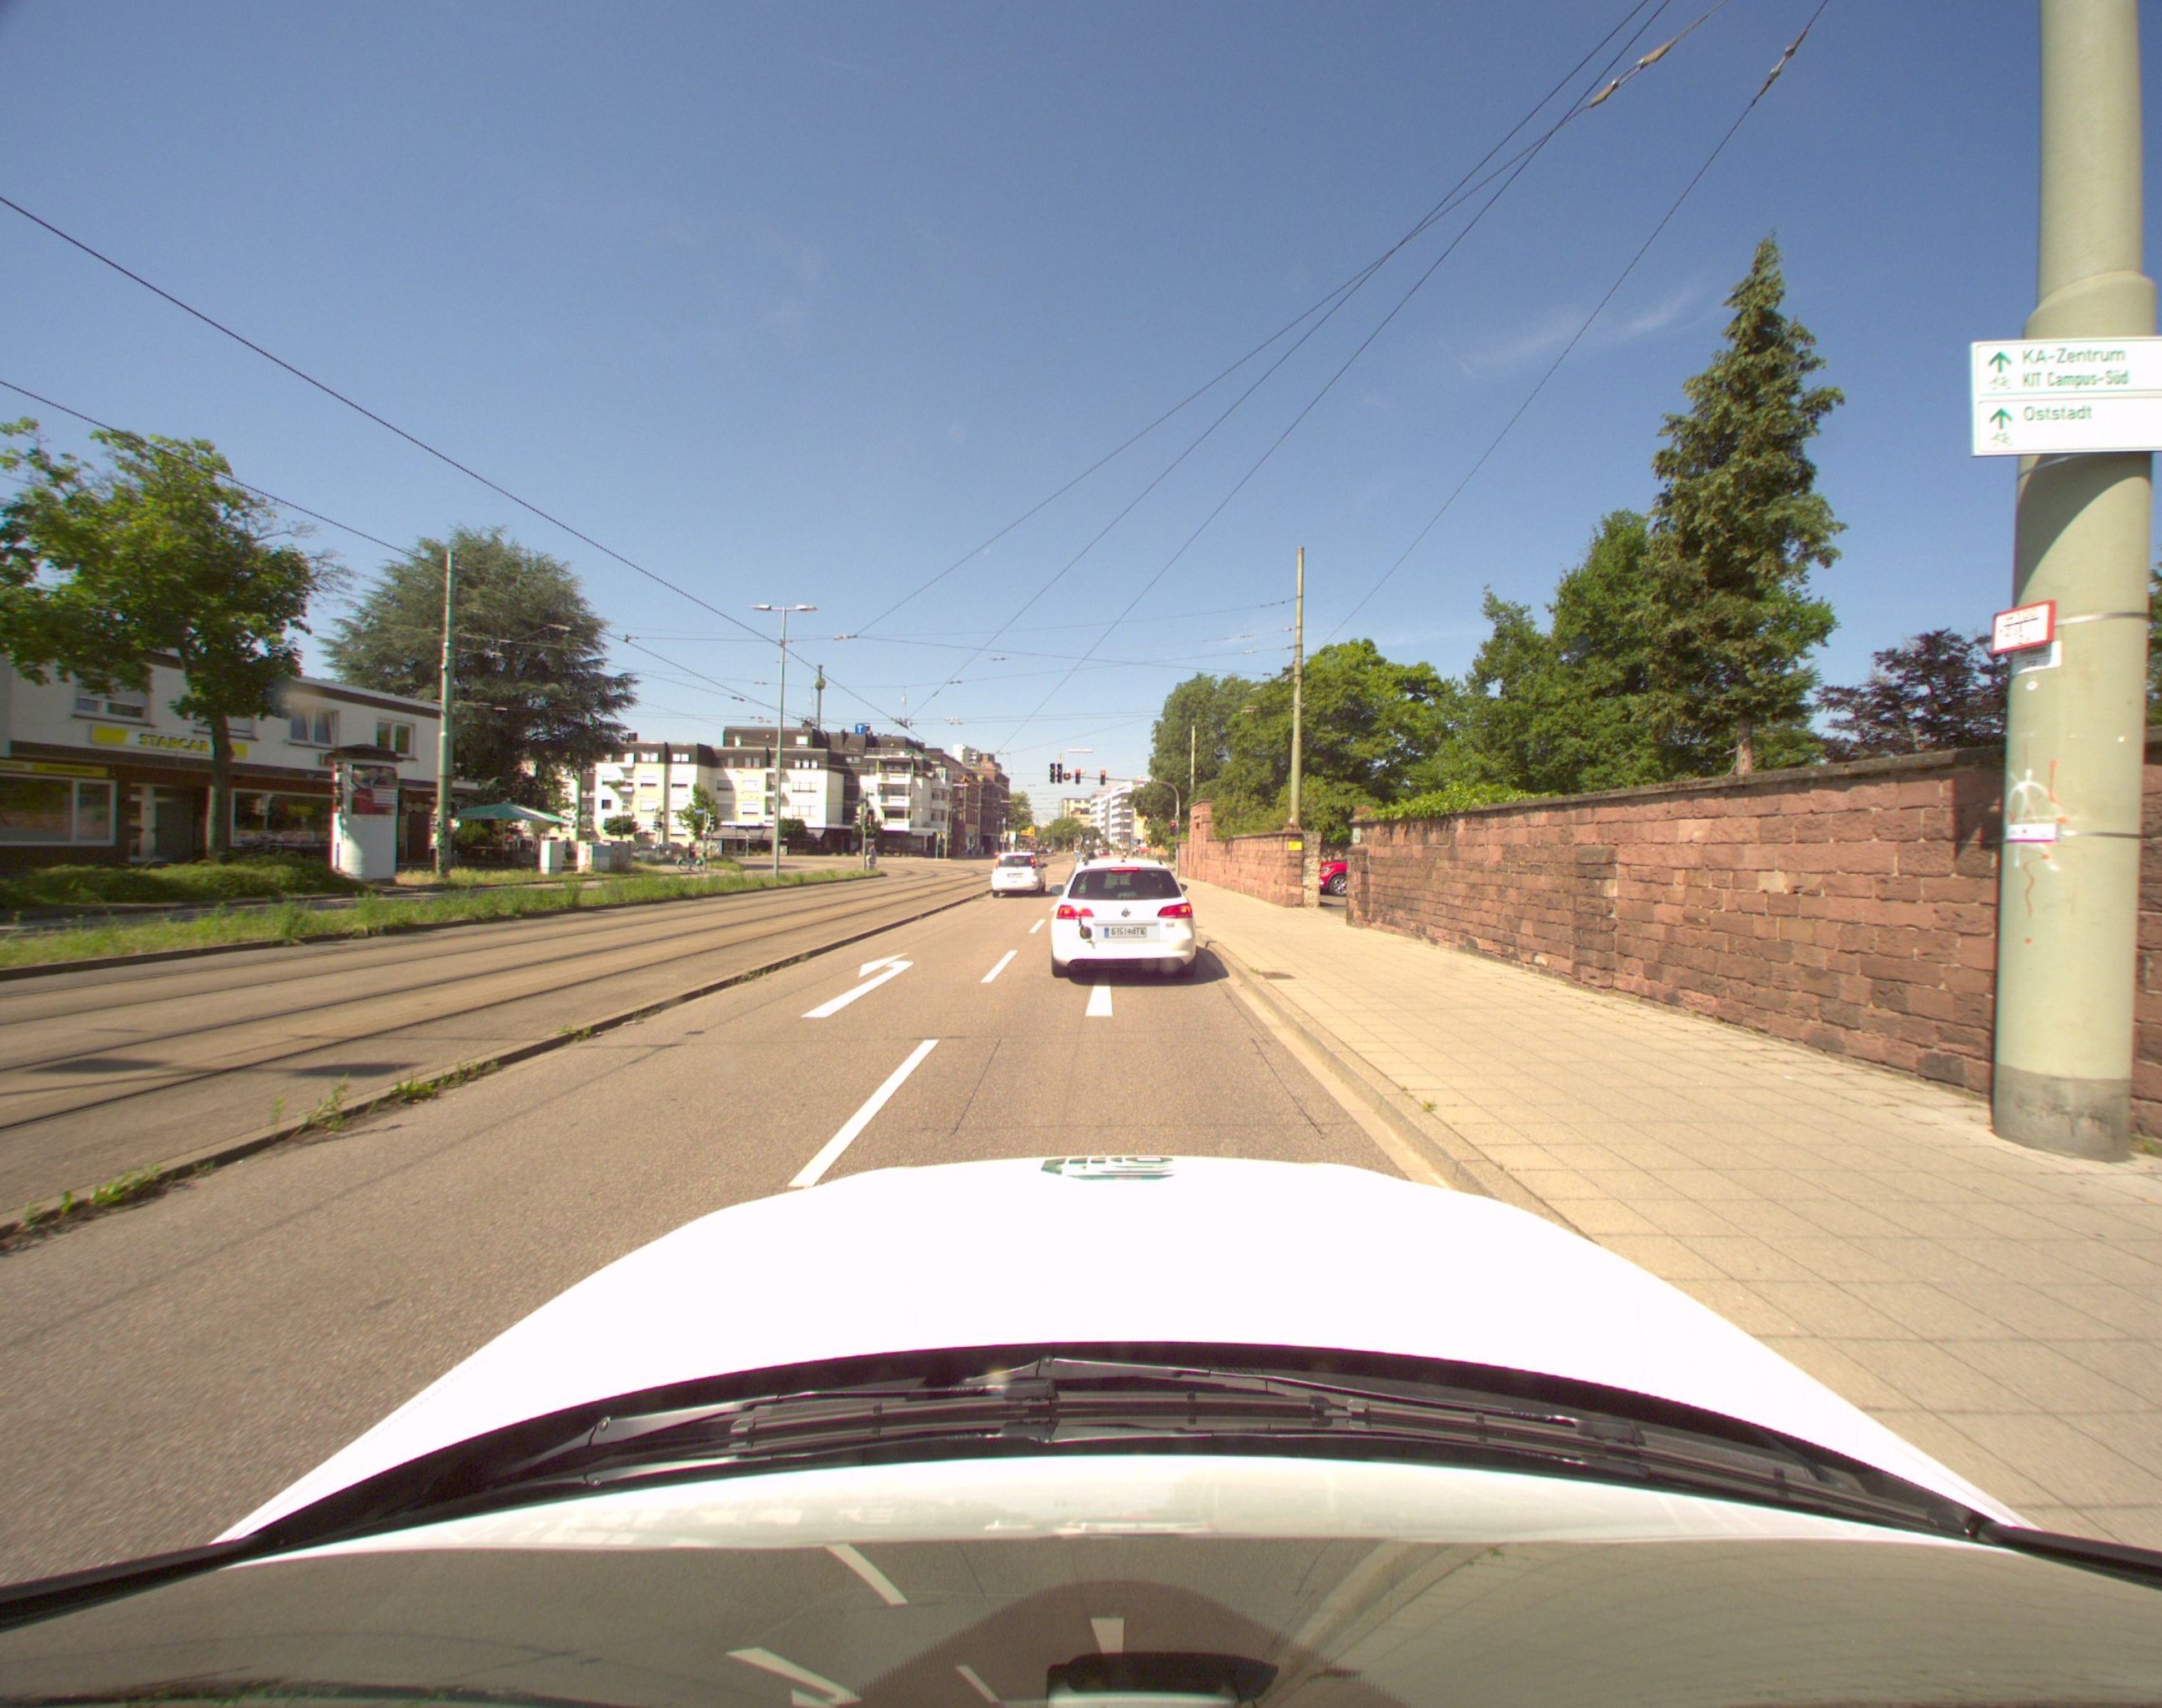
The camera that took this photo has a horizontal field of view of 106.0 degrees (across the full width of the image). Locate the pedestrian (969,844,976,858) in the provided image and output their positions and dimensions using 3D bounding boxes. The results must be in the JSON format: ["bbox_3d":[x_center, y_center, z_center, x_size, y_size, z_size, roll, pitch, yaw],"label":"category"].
[{"bbox_3d":[-15.831,-0.386,119.296,0.935,2.013,0.989,1,0,-4],"label":"pedestrian"}]

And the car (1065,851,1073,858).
[{"bbox_3d":[-2.884,0.035,196.652,1.692,1.591,3.535,1,0,1],"label":"car"}]

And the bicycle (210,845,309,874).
[{"bbox_3d":[-27.050,0.169,26.893,0.780,0.888,2.392,1,0,2],"label":"bicycle"}]

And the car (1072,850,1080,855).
[{"bbox_3d":[-1.357,-0.471,231.899,1.698,1.591,3.524,1,0,-8],"label":"car"}]

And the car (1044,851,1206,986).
[{"bbox_3d":[0.574,0.710,10.946,1.771,1.490,3.849,-1,0,2],"label":"car"}]

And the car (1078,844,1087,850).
[{"bbox_3d":[0.386,-2.178,259.181,1.995,2.013,3.983,1,0,-13],"label":"car"}]

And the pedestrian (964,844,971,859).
[{"bbox_3d":[-15.878,-0.369,113.806,0.935,2.013,0.989,1,0,-5],"label":"pedestrian"}]

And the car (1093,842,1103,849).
[{"bbox_3d":[4.997,-2.495,237.405,1.995,2.013,3.984,1,0,-12],"label":"car"}]

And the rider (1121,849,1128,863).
[{"bbox_3d":[5.875,0.266,109.635,0.887,1.728,2.205,1,0,2],"label":"rider"}]

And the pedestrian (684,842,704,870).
[{"bbox_3d":[-21.158,0.103,44.524,0.820,1.487,0.559,1,0,-40],"label":"pedestrian"}]

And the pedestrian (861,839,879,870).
[{"bbox_3d":[-11.876,0.015,45.870,0.825,1.738,0.930,1,0,-6],"label":"pedestrian"}]

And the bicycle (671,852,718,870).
[{"bbox_3d":[-20.880,0.392,44.029,2.188,0.921,0.547,1,0,-40],"label":"bicycle"}]

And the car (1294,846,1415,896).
[{"bbox_3d":[8.764,0.529,26.280,3.395,1.464,1.525,1,0,1],"label":"car"}]

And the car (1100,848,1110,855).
[{"bbox_3d":[6.506,-0.669,223.180,1.995,2.013,3.984,1,0,-12],"label":"car"}]

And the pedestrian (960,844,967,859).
[{"bbox_3d":[-16.650,-0.372,115.341,0.935,2.013,0.989,1,0,-4],"label":"pedestrian"}]

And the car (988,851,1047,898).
[{"bbox_3d":[-2.253,0.693,29.681,1.724,1.596,4.012,1,0,1],"label":"car"}]

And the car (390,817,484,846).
[{"bbox_3d":[-51.479,-1.776,65.169,5.535,2.013,2.250,3,0,0],"label":"car"}]
